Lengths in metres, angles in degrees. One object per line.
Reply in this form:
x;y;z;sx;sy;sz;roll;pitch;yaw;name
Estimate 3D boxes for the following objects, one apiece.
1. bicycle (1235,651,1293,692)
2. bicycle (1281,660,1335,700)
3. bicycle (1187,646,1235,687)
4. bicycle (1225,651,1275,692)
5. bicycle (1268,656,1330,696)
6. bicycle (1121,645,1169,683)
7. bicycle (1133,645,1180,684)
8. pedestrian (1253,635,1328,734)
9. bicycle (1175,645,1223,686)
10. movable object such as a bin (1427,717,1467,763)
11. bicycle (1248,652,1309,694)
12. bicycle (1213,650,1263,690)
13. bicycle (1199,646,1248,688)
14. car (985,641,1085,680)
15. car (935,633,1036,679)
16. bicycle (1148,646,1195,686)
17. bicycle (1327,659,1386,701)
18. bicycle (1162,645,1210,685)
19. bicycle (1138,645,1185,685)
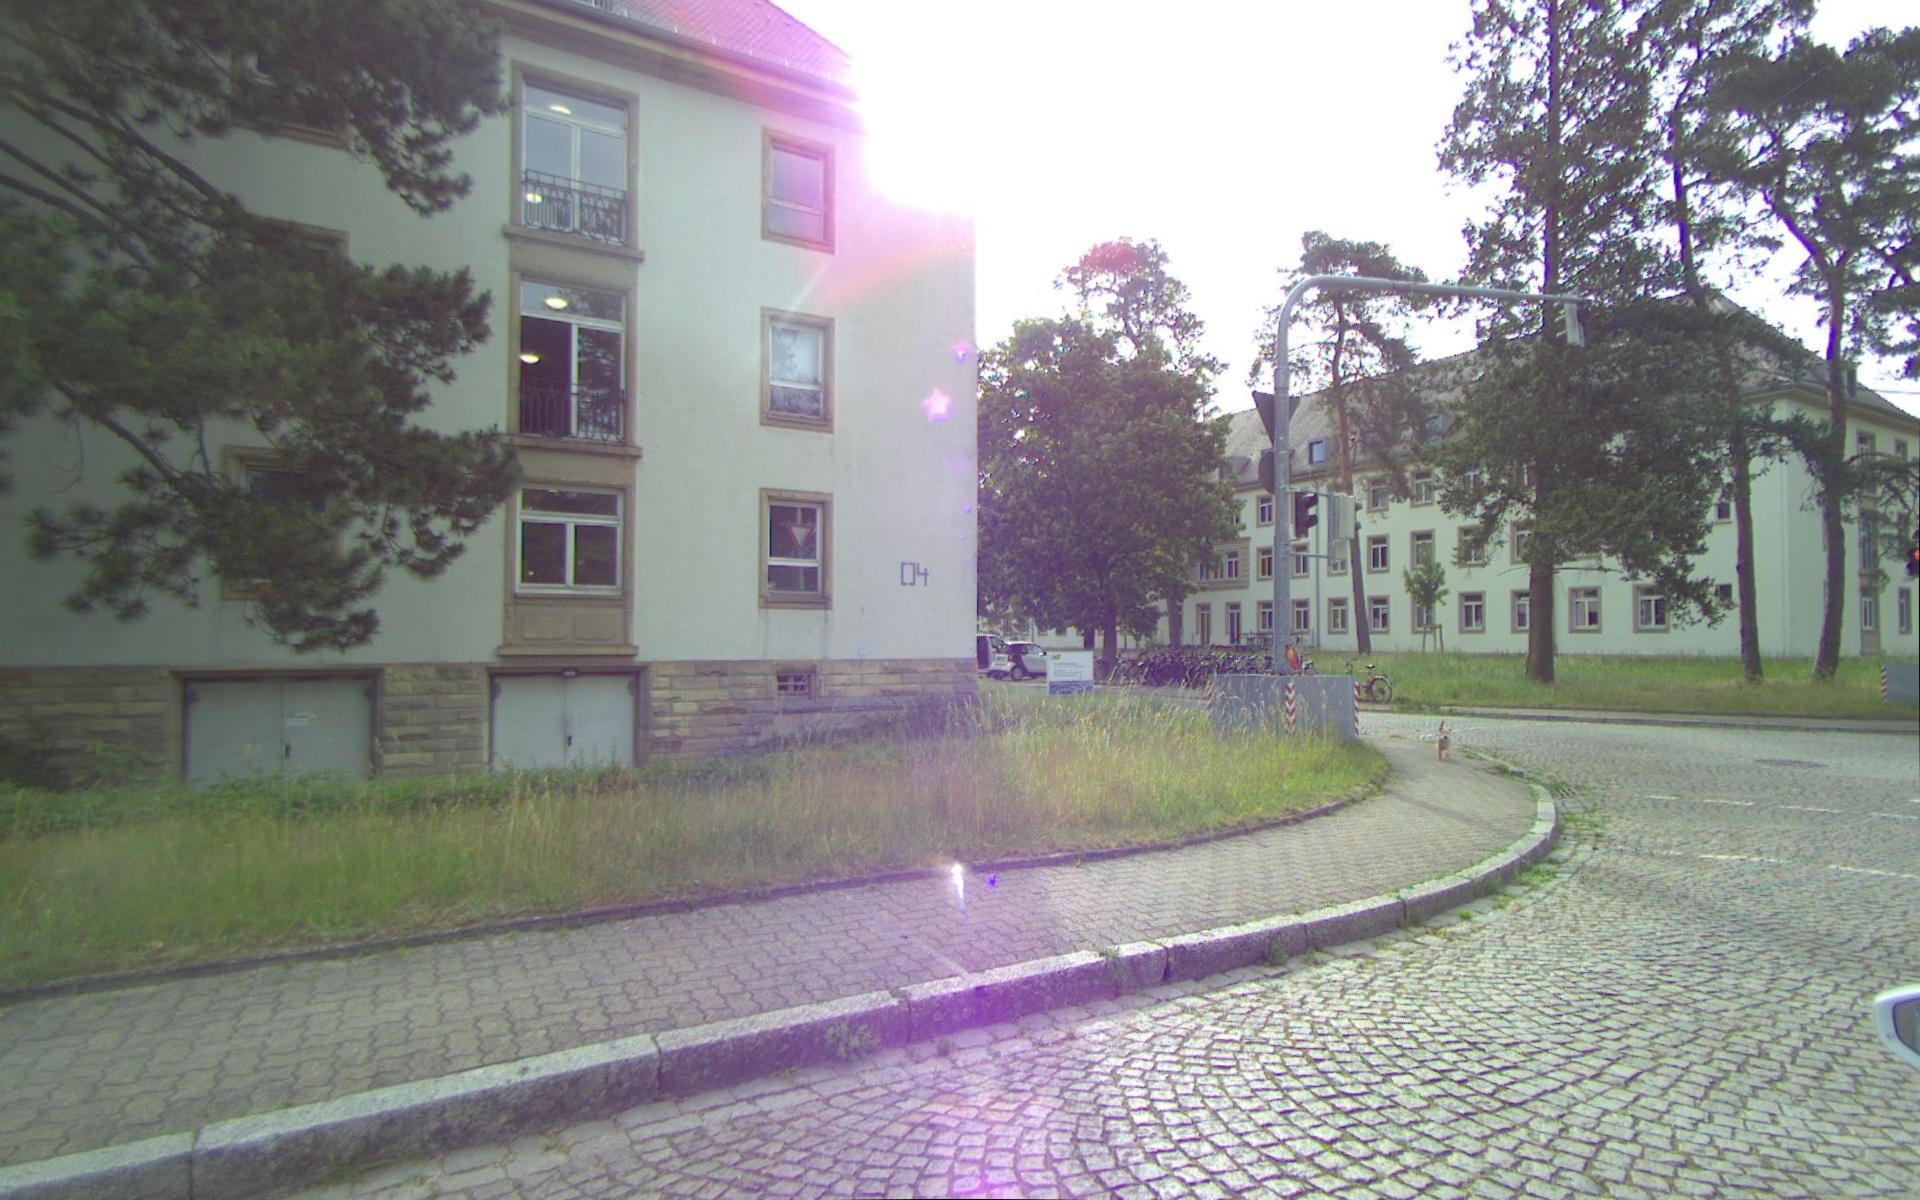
9.063;2.121;29.918;1.909;1.193;0.525;2;-3;-32;bicycle
9.255;2.112;26.754;0.447;1.009;1.453;1;-3;-28;bicycle
7.959;2.094;31.836;1.676;1.300;0.447;2;-3;-32;bicycle
8.762;2.138;30.334;1.676;1.193;0.447;2;-3;-32;bicycle
9.735;2.173;28.832;1.974;1.092;0.572;2;-3;-32;bicycle
6.363;2.185;34.559;1.807;1.300;0.447;2;-3;-32;bicycle
6.704;2.183;34.225;1.765;1.300;0.440;2;-3;-32;bicycle
5.798;1.460;17.646;0.924;1.690;0.860;1;-2;-14;pedestrian
7.668;2.099;32.261;1.676;1.300;0.447;2;-3;-32;bicycle
6.224;1.780;12.859;0.436;0.510;0.752;-1;-3;25;movable object such as a bin
9.328;2.113;29.397;1.932;1.193;0.572;2;-3;-32;bicycle
8.505;2.130;30.745;1.676;1.193;0.447;2;-3;-32;bicycle
8.243;2.089;31.419;1.676;1.300;0.447;2;-3;-32;bicycle
3.137;2.497;41.970;3.851;1.576;1.831;1;-3;-30;car
1.127;2.416;43.976;4.087;1.932;1.831;1;-3;-30;car
7.019;2.165;33.299;1.676;1.300;0.447;2;-3;-32;bicycle
10.027;2.022;25.442;0.447;1.009;1.453;1;-3;-28;bicycle
7.370;2.105;32.737;1.676;1.300;0.447;2;-3;-32;bicycle
6.768;2.171;33.715;1.676;1.300;0.447;2;-3;-32;bicycle
